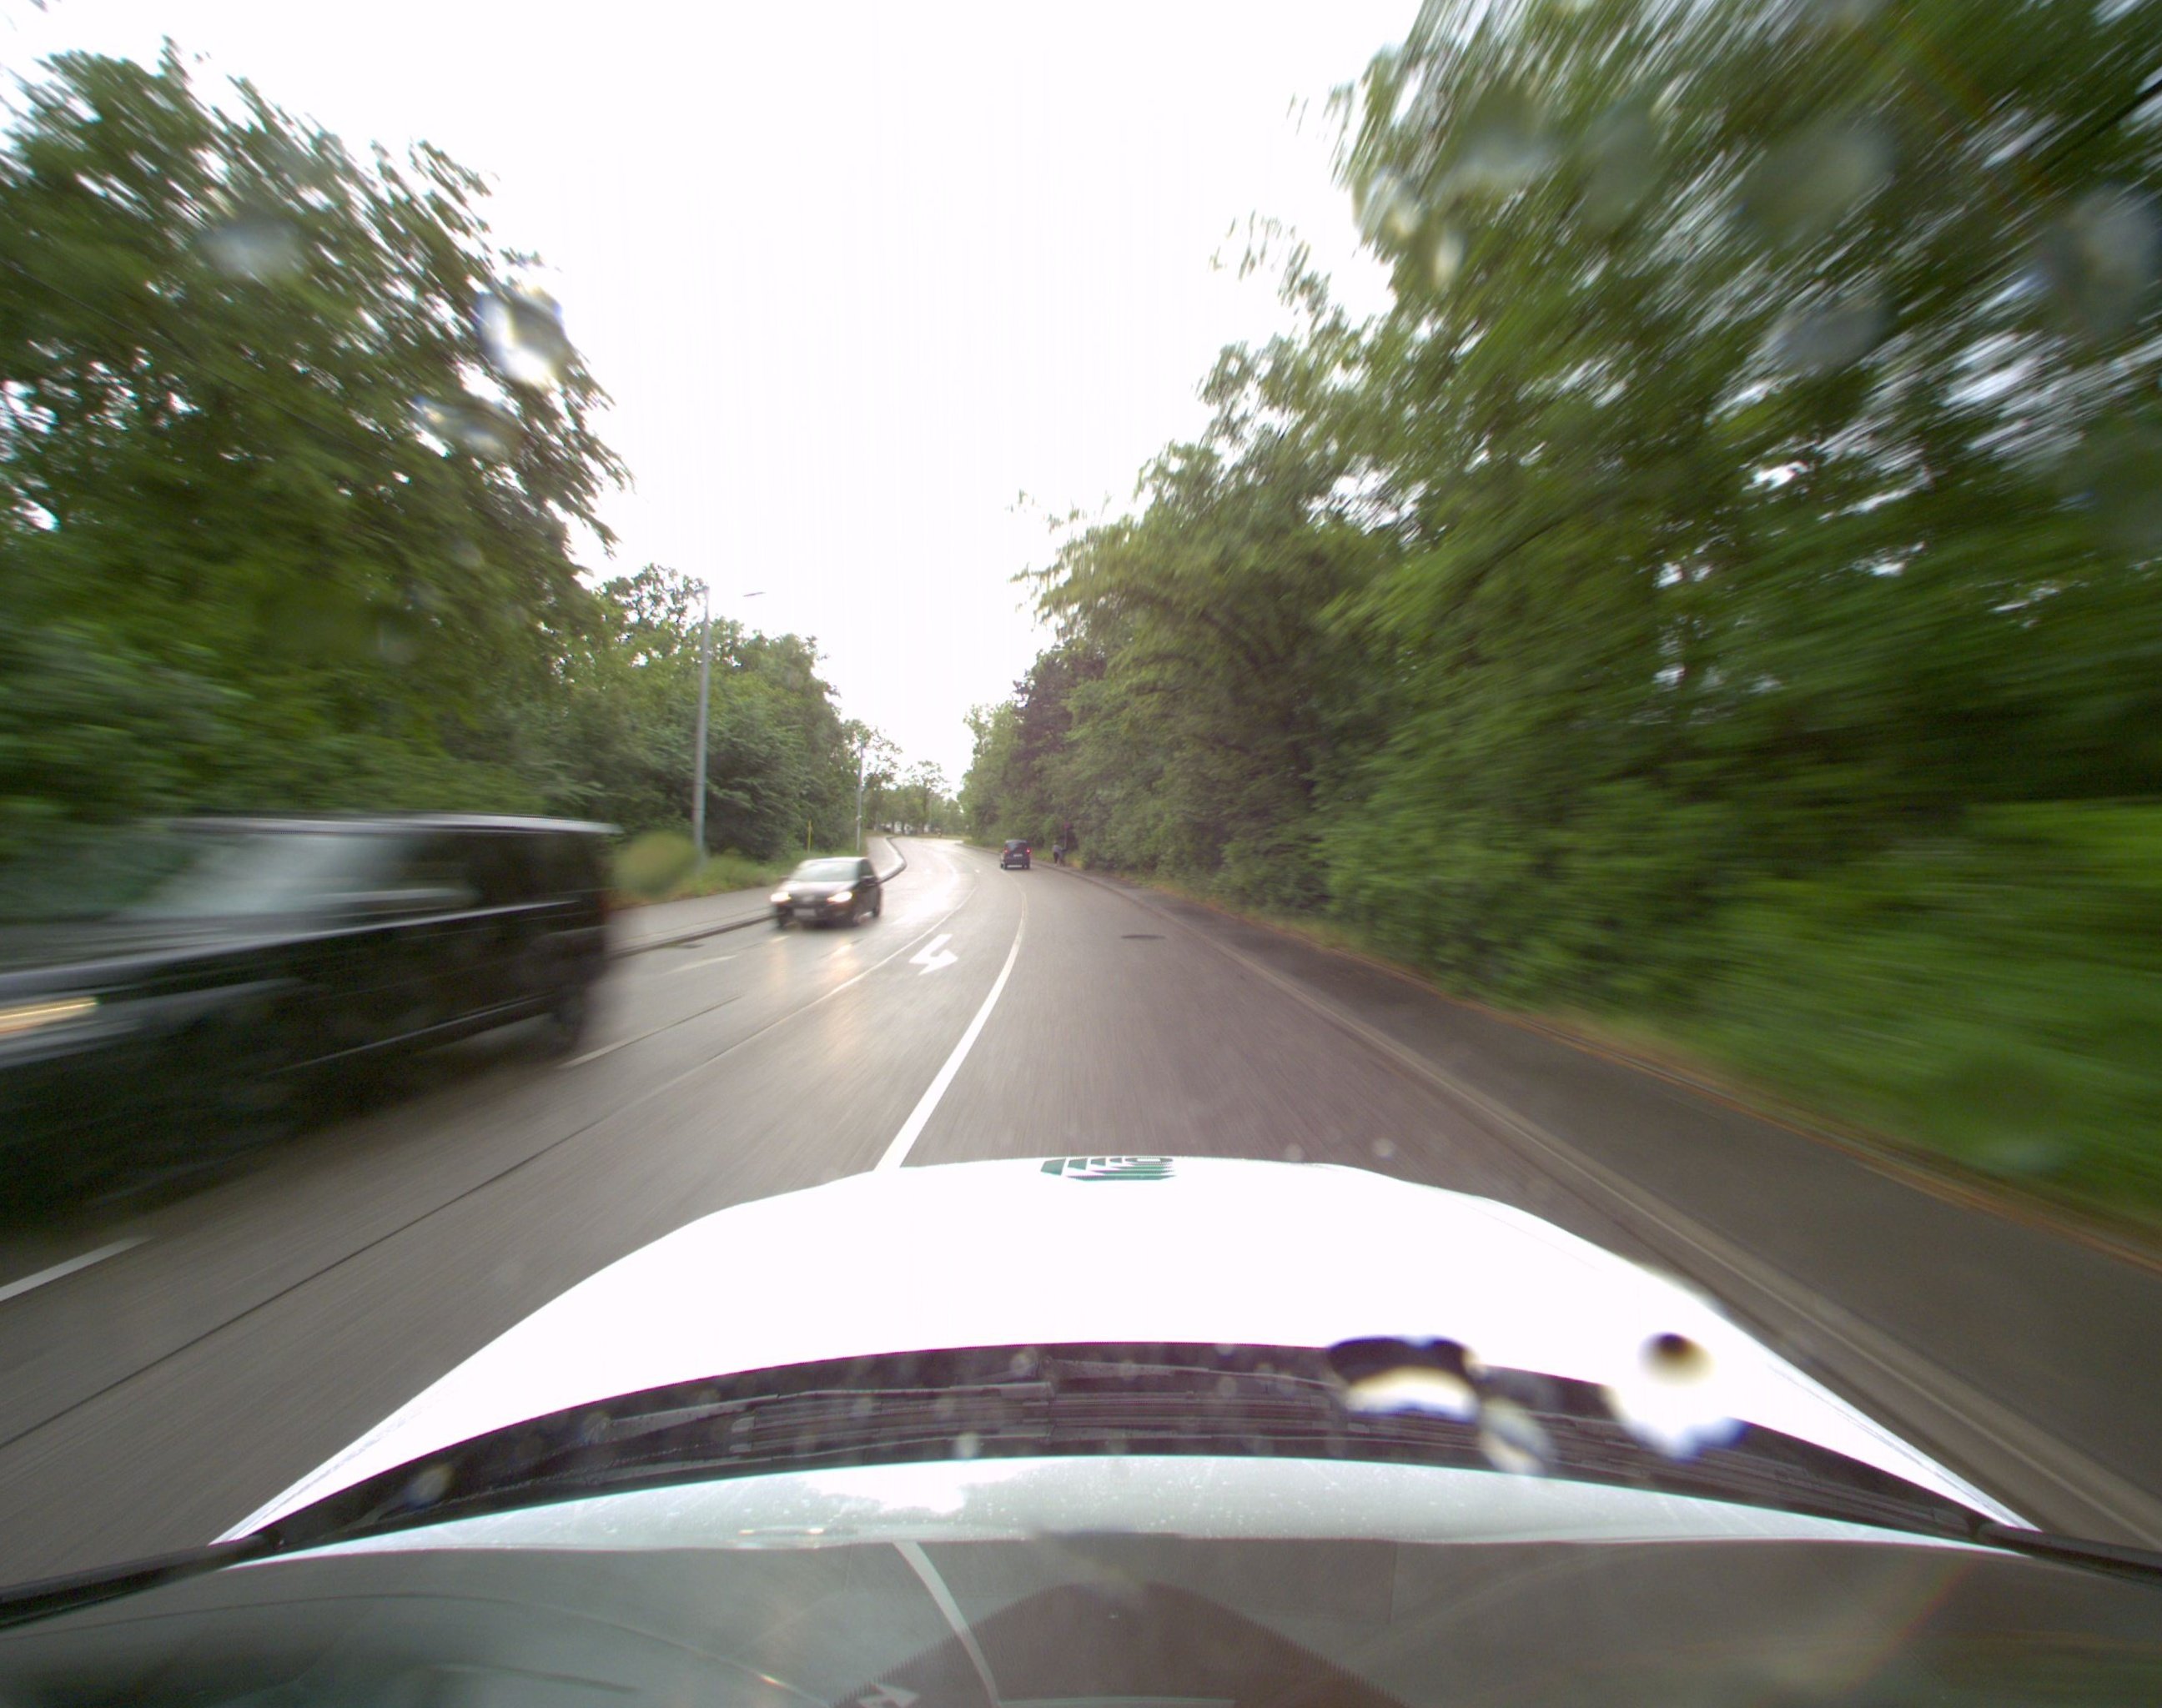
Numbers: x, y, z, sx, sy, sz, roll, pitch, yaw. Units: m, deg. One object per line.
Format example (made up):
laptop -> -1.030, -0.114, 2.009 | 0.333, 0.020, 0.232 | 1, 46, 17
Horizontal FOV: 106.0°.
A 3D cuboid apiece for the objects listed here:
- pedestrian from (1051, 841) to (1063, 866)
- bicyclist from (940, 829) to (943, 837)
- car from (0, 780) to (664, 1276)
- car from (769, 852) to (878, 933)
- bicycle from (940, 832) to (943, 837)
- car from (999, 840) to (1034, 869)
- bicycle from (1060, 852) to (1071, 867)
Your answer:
pedestrian -> -1.530, 0.002, 52.332 | 0.564, 1.577, 0.766 | -2, -1, -12
bicyclist -> -28.151, -4.235, 164.324 | 0.336, 1.573, 1.293 | 2, 3, -12
car -> -4.881, 0.595, 5.359 | 1.821, 1.843, 4.710 | 2, 1, 0
car -> -5.699, 0.769, 18.498 | 1.827, 1.440, 3.988 | 0, 3, -10
bicycle -> -28.161, -3.903, 164.370 | 0.356, 0.849, 2.085 | -1, 3, -12
car -> -4.161, 0.040, 52.291 | 1.827, 1.794, 3.986 | -1, 0, -10
bicycle -> -0.998, 0.358, 51.836 | 0.356, 0.848, 1.736 | -3, 3, -12
